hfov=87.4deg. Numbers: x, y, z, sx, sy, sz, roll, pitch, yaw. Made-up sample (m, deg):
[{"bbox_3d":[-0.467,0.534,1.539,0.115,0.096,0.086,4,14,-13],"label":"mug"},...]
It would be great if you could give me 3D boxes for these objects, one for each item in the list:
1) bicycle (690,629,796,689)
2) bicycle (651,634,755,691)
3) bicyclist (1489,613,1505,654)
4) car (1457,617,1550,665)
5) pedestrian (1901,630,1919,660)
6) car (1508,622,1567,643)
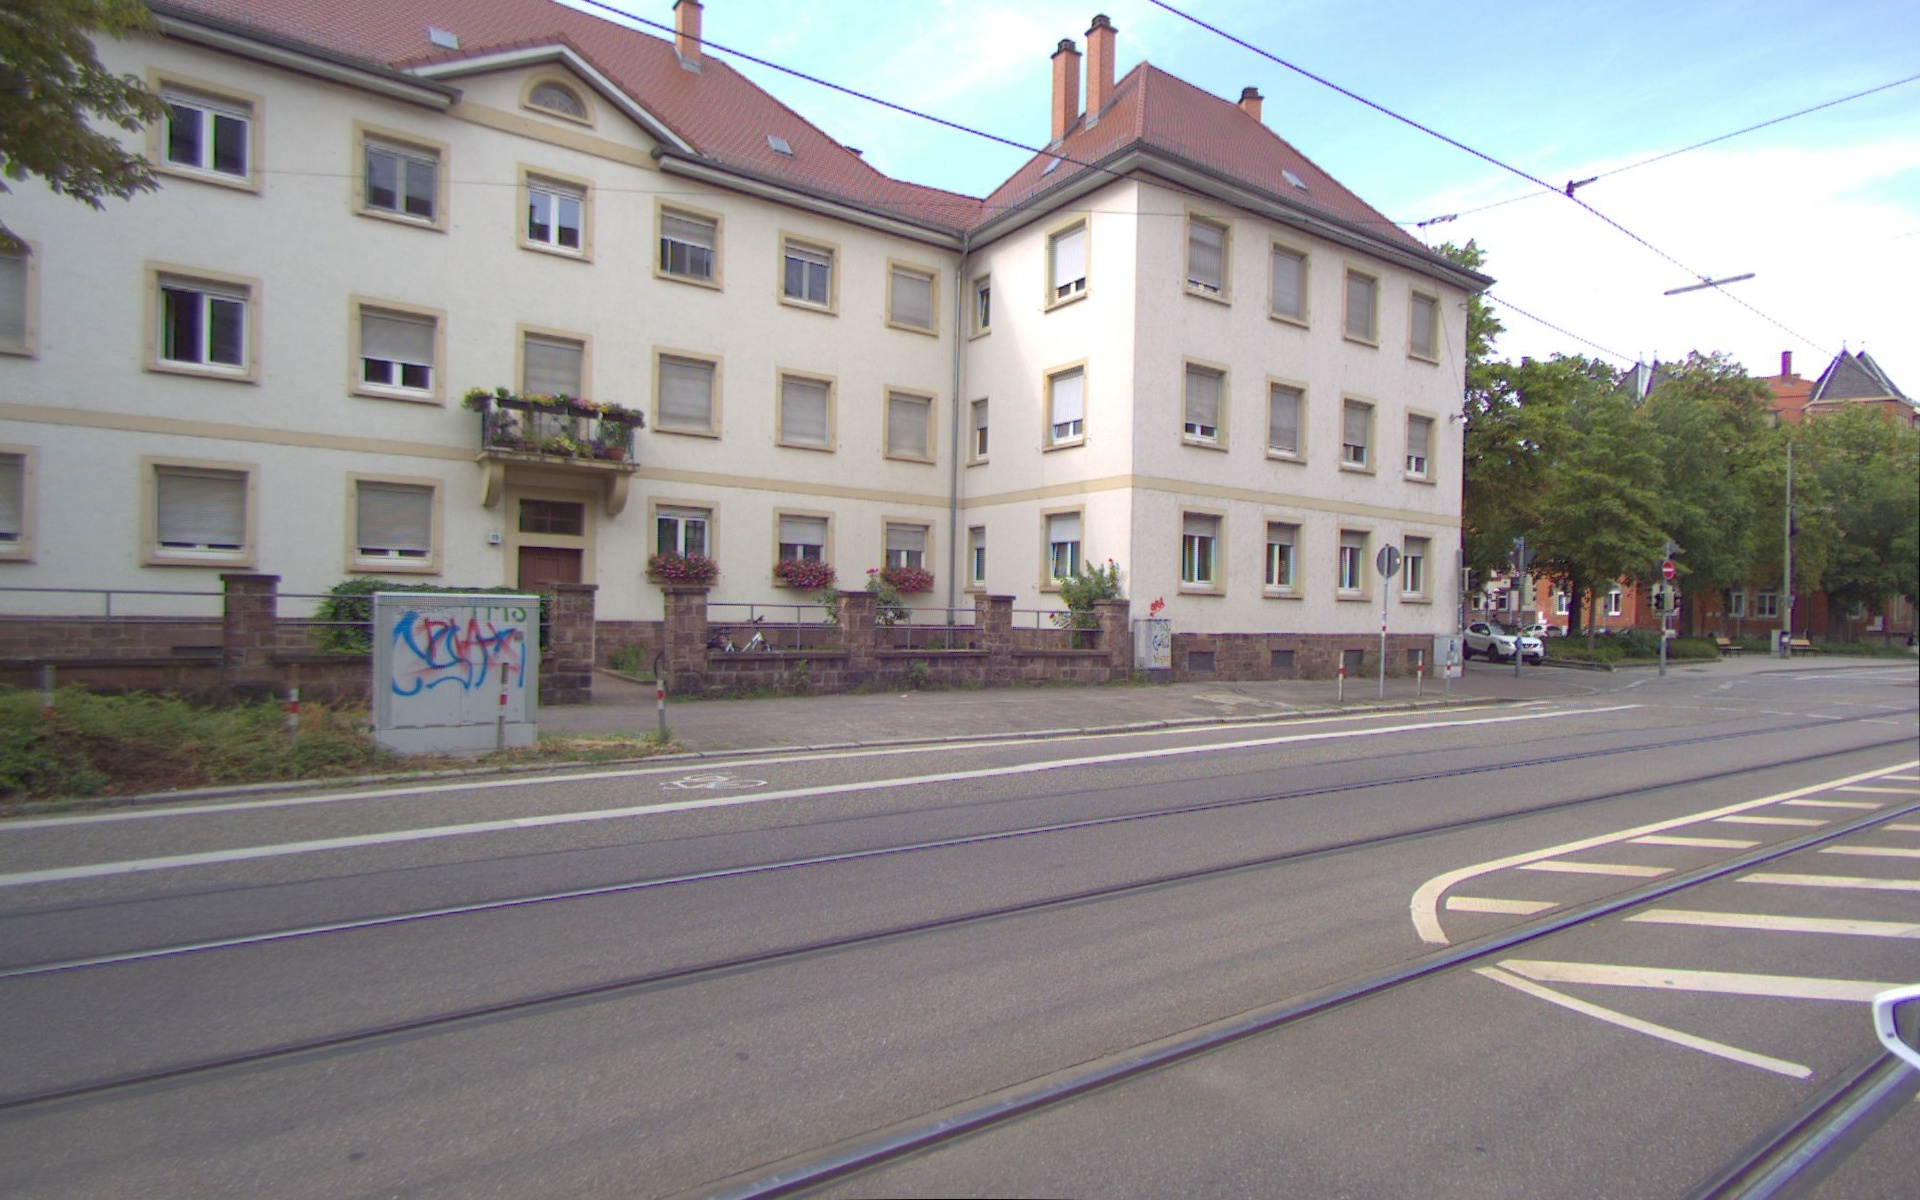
[{"bbox_3d":[-3.552,0.952,16.504,1.655,0.927,0.475,1,-1,-34],"label":"bicycle"},{"bbox_3d":[-4.367,1.051,17.114,1.655,0.927,0.475,1,-1,-34],"label":"bicycle"},{"bbox_3d":[24.049,1.475,44.983,0.601,1.799,0.909,1,0,28],"label":"bicyclist"},{"bbox_3d":[21.680,1.654,40.278,1.804,1.743,4.163,2,-2,6],"label":"car"},{"bbox_3d":[55.786,2.612,58.865,0.726,1.725,0.826,1,0,-39],"label":"pedestrian"},{"bbox_3d":[44.515,2.479,77.487,1.783,1.497,3.992,1,-1,-11],"label":"car"}]
